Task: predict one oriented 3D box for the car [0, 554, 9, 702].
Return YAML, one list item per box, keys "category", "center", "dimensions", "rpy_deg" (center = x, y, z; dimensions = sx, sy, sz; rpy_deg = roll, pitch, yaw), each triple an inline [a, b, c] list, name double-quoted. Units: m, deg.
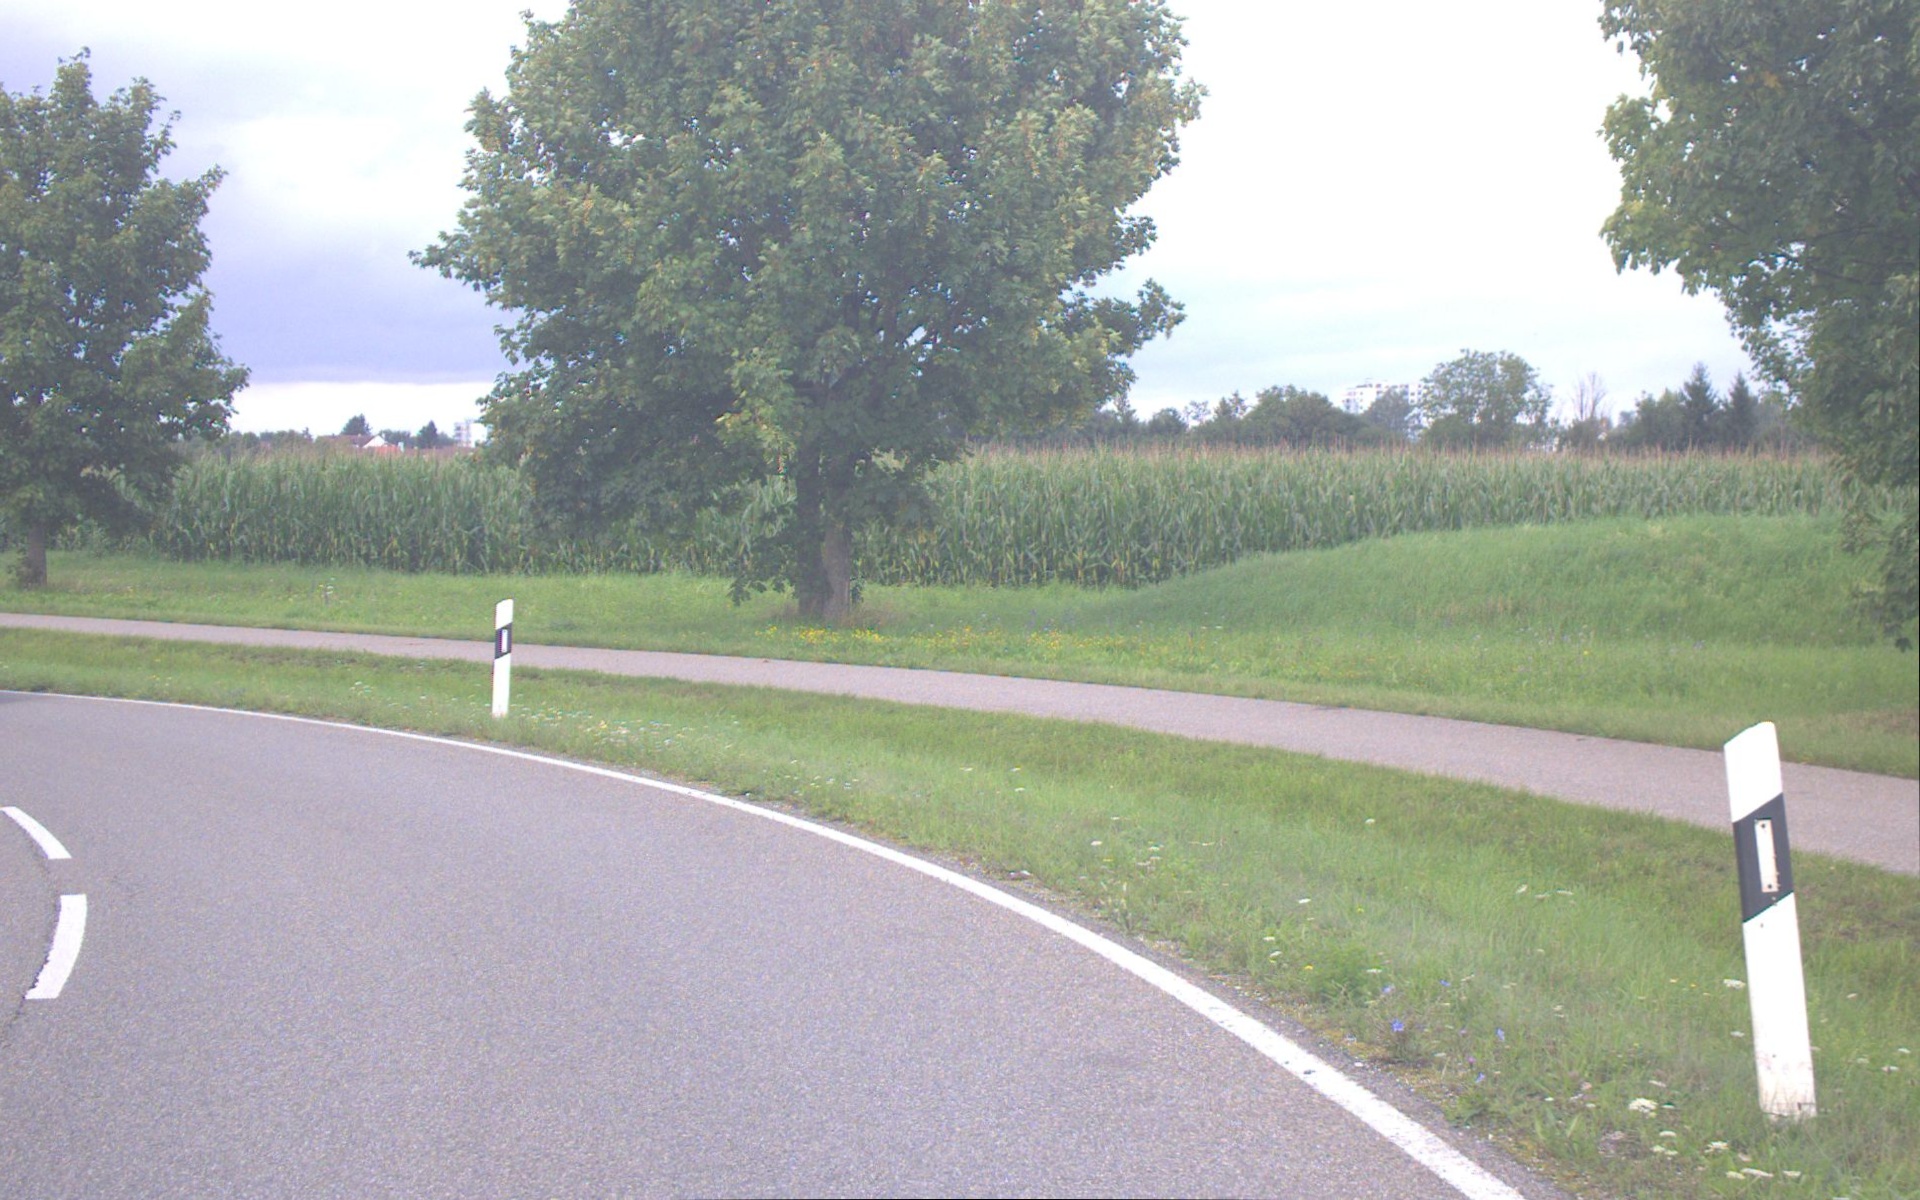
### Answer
- category: "car"
  center: [-10.987, 0.203, 34.045]
  dimensions: [1.841, 1.412, 4.000]
  rpy_deg: [0, 2, -34]
